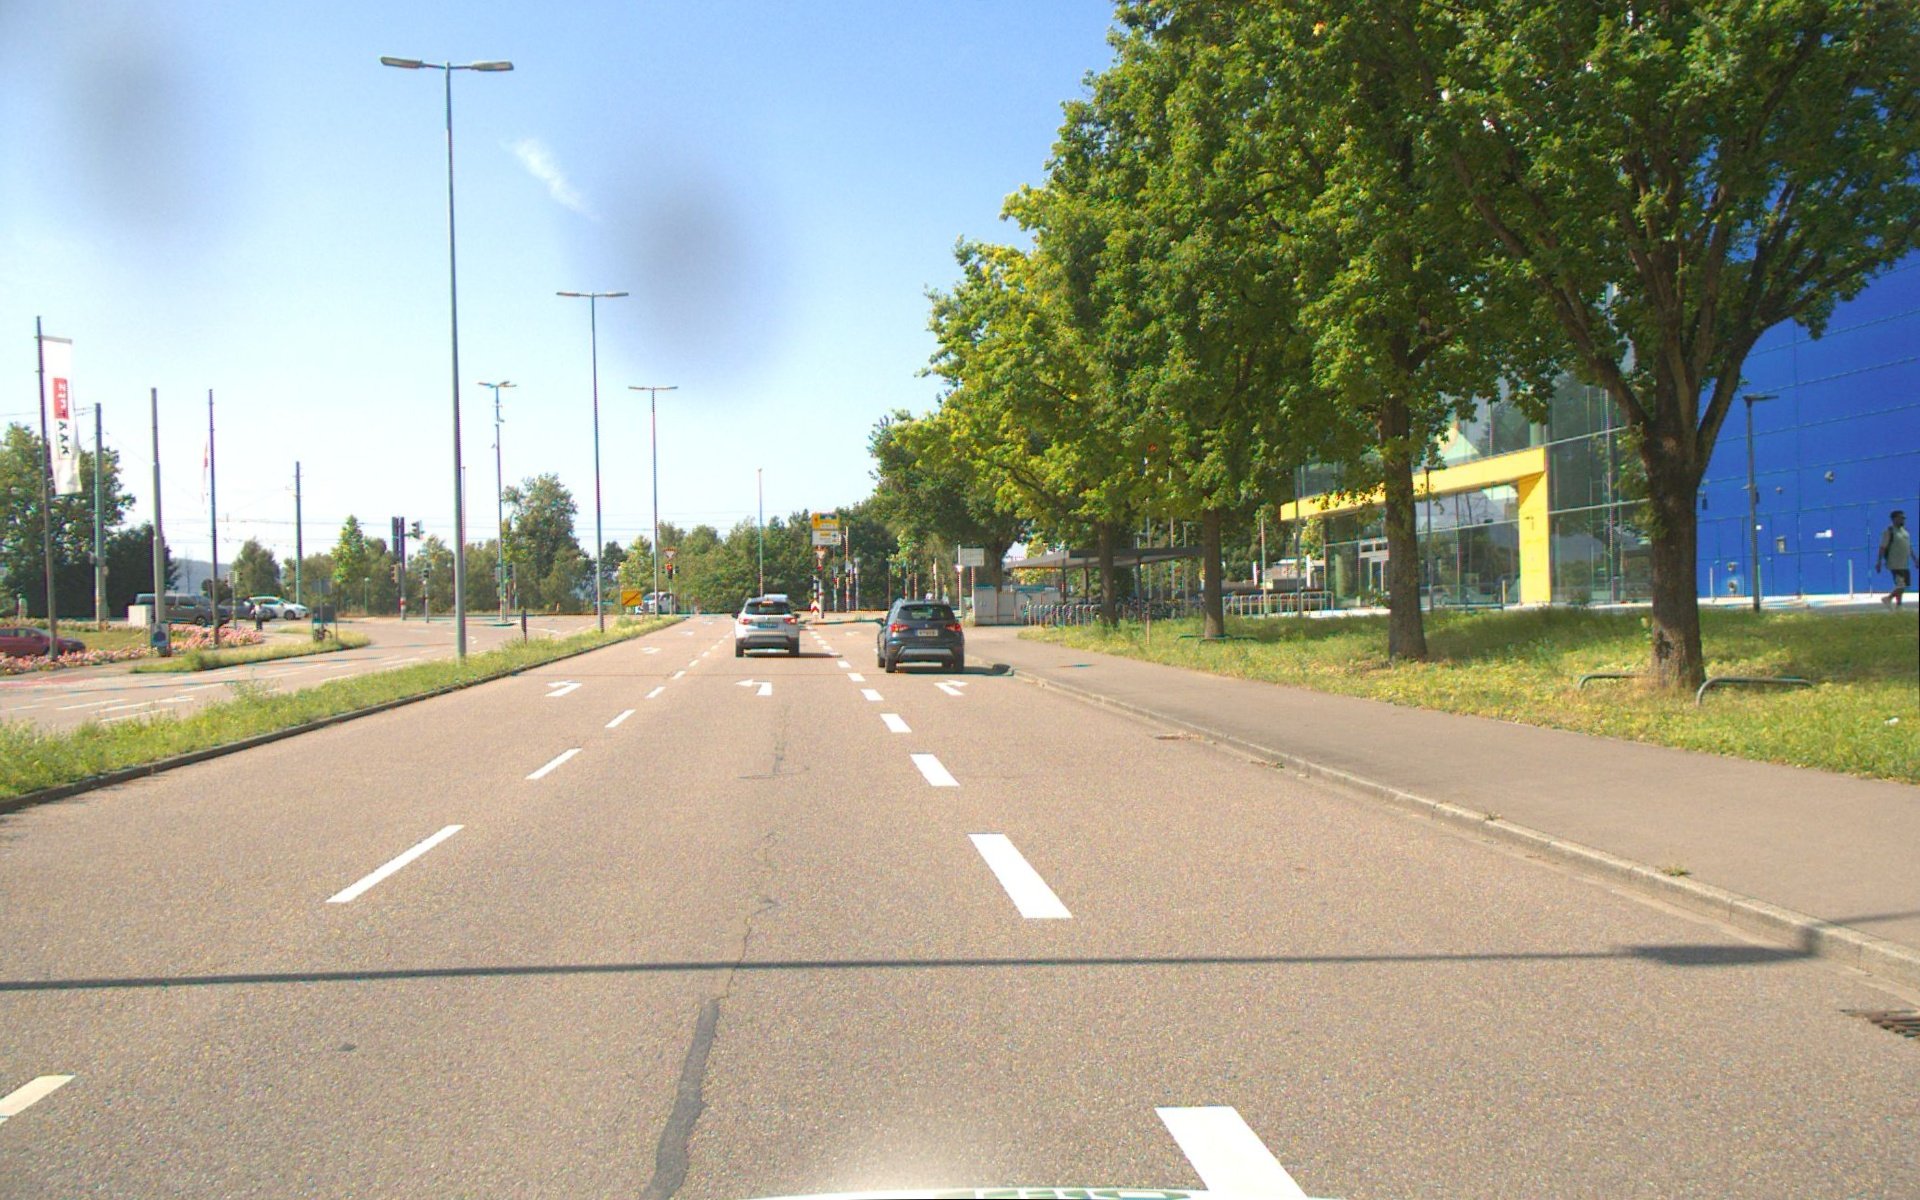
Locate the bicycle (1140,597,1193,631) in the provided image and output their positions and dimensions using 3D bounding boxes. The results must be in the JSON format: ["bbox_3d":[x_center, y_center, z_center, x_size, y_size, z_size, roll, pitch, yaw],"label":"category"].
[{"bbox_3d":[7.060,0.474,56.499,1.725,1.115,0.451,-2,0,-7],"label":"bicycle"}]

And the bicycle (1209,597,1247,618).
[{"bbox_3d":[11.330,0.299,69.924,1.531,0.858,0.433,-1,0,-5],"label":"bicycle"}]

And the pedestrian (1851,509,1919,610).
[{"bbox_3d":[15.412,-0.662,27.509,0.675,1.640,0.769,-2,0,-10],"label":"pedestrian"}]

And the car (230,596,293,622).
[{"bbox_3d":[-43.533,0.567,103.110,3.323,1.526,1.407,-1,-1,-9],"label":"car"}]

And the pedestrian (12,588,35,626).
[{"bbox_3d":[-50.527,0.390,89.258,0.701,2.006,0.917,-1,-1,-2],"label":"pedestrian"}]

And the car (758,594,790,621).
[{"bbox_3d":[-10.284,0.393,91.305,1.708,1.473,4.383,0,0,-6],"label":"car"}]

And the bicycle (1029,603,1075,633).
[{"bbox_3d":[3.660,0.714,65.755,1.725,1.115,0.451,-2,0,-7],"label":"bicycle"}]

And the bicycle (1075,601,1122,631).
[{"bbox_3d":[5.507,0.644,65.853,1.794,1.115,0.451,-2,0,-7],"label":"bicycle"}]

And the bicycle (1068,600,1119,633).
[{"bbox_3d":[4.704,0.593,58.466,1.725,1.115,0.451,-2,0,-7],"label":"bicycle"}]

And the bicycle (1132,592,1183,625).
[{"bbox_3d":[6.992,0.287,58.638,1.725,1.115,0.451,-2,0,-7],"label":"bicycle"}]

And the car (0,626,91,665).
[{"bbox_3d":[-40.252,1.986,71.766,4.108,1.634,1.821,-1,-1,-11],"label":"car"}]

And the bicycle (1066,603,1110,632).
[{"bbox_3d":[5.185,0.695,67.089,1.725,1.115,0.451,-2,0,-7],"label":"bicycle"}]

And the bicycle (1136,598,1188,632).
[{"bbox_3d":[7.031,0.508,57.685,1.725,1.115,0.451,-2,0,-7],"label":"bicycle"}]

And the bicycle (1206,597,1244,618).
[{"bbox_3d":[11.323,0.316,70.752,1.531,0.858,0.433,-1,0,-5],"label":"bicycle"}]

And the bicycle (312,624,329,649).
[{"bbox_3d":[-27.391,1.552,70.895,0.324,1.040,1.639,-2,-2,-10],"label":"bicycle"}]

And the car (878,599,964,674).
[{"bbox_3d":[-0.894,0.750,36.087,1.637,1.550,3.373,0,0,-6],"label":"car"}]

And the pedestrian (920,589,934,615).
[{"bbox_3d":[-2.061,0.121,104.277,0.756,1.537,1.008,-1,1,5],"label":"pedestrian"}]

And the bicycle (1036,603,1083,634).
[{"bbox_3d":[3.809,0.714,63.583,1.725,1.115,0.451,-2,0,-7],"label":"bicycle"}]

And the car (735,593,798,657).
[{"bbox_3d":[-5.200,0.633,44.742,1.599,1.524,3.866,0,2,-6],"label":"car"}]

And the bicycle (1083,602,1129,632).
[{"bbox_3d":[5.703,0.656,64.504,1.725,1.115,0.451,-2,0,-7],"label":"bicycle"}]

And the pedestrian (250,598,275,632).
[{"bbox_3d":[-37.221,0.803,88.272,0.822,1.736,0.906,-2,0,5],"label":"pedestrian"}]

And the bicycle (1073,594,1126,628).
[{"bbox_3d":[4.742,0.373,56.152,1.725,1.115,0.451,-2,0,-7],"label":"bicycle"}]

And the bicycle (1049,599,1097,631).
[{"bbox_3d":[4.264,0.559,62.192,1.725,1.115,0.451,-2,0,-7],"label":"bicycle"}]

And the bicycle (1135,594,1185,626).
[{"bbox_3d":[7.237,0.349,59.799,1.725,1.115,0.451,-2,0,-7],"label":"bicycle"}]

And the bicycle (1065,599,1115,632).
[{"bbox_3d":[4.670,0.558,59.405,1.725,1.115,0.451,-2,0,-7],"label":"bicycle"}]

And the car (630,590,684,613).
[{"bbox_3d":[-21.805,0.116,119.027,1.758,1.574,4.083,-1,0,26],"label":"car"}]

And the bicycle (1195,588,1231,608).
[{"bbox_3d":[11.084,-0.100,72.480,1.530,0.858,0.433,-1,0,-3],"label":"bicycle"}]

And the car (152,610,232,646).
[{"bbox_3d":[-44.278,1.583,95.387,3.902,1.959,1.818,0,1,15],"label":"car"}]

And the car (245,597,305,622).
[{"bbox_3d":[-44.229,0.642,106.816,3.283,1.526,1.406,-1,-1,-11],"label":"car"}]

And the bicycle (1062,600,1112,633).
[{"bbox_3d":[4.612,0.592,59.979,1.725,1.115,0.451,-2,0,-7],"label":"bicycle"}]
